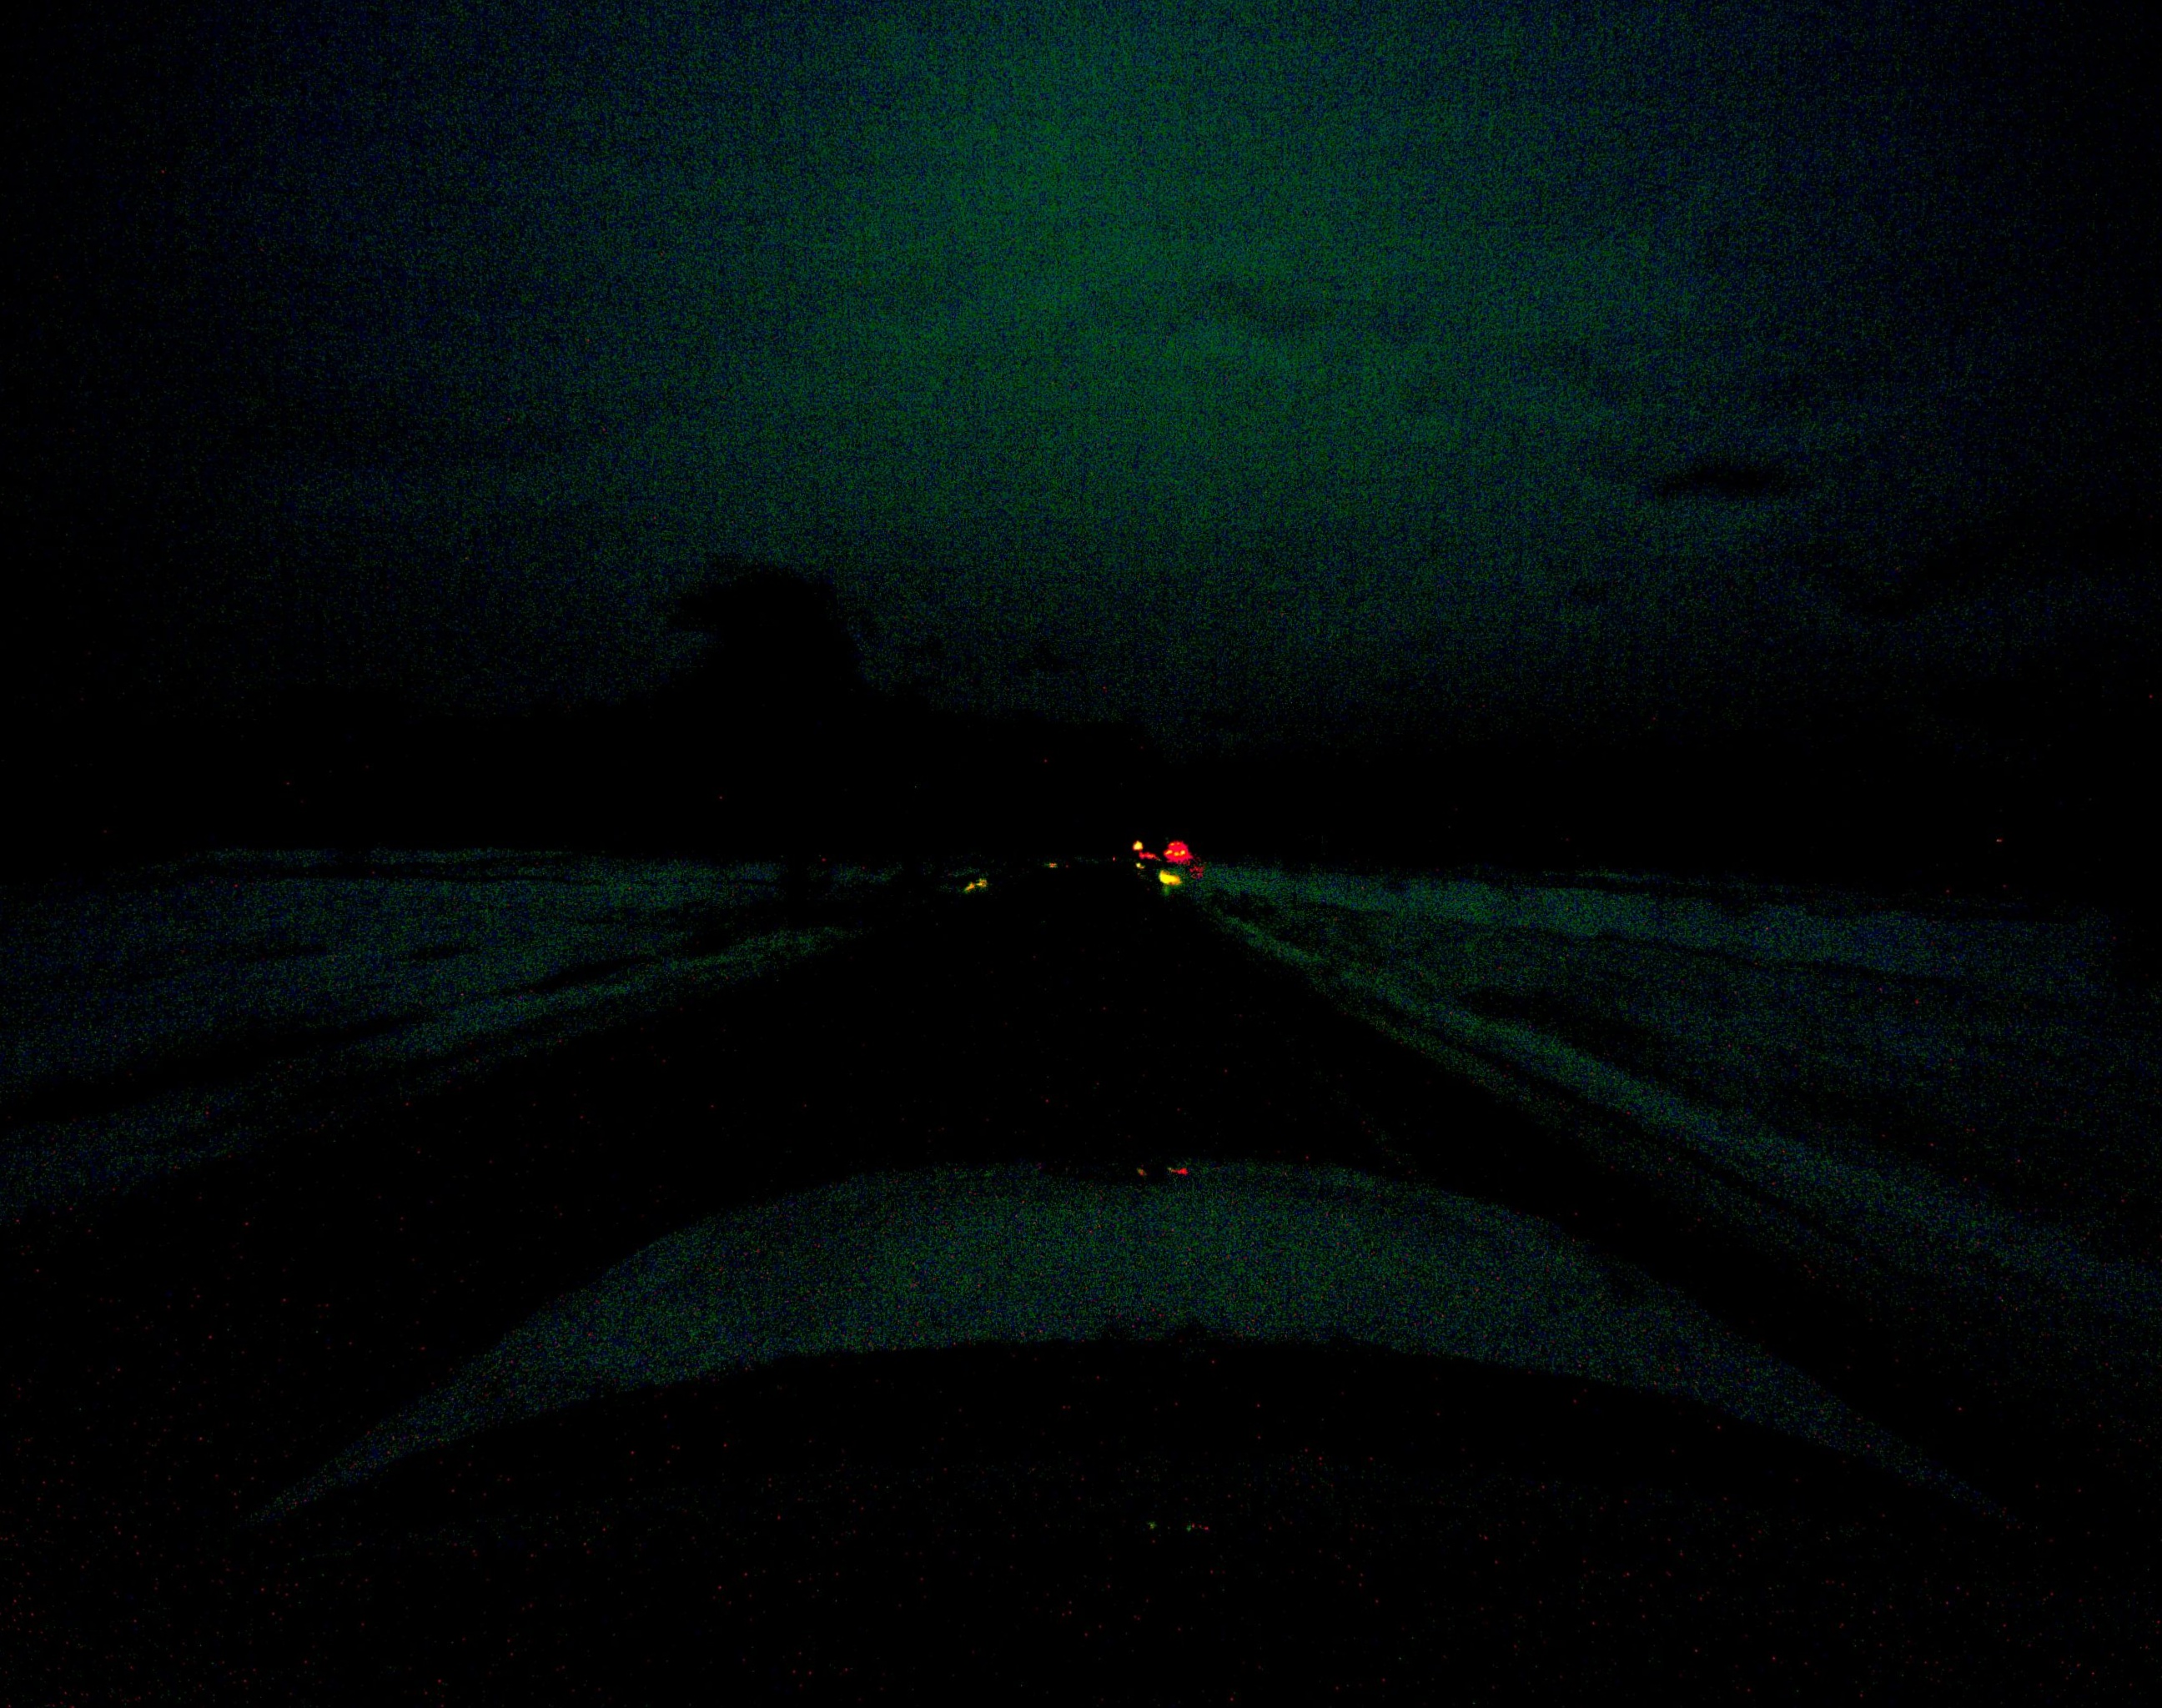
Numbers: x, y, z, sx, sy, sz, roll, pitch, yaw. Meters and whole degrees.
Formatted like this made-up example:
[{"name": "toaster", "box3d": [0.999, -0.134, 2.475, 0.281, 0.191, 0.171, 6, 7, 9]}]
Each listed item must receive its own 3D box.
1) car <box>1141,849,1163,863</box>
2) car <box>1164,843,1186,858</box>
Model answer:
[{"name": "car", "box3d": [10.198, 0.269, 117.247, 1.976, 2.051, 4.022, 1, 0, 23]}, {"name": "car", "box3d": [16.397, -0.647, 141.637, 2.232, 2.645, 5.035, 0, 1, 24]}]
